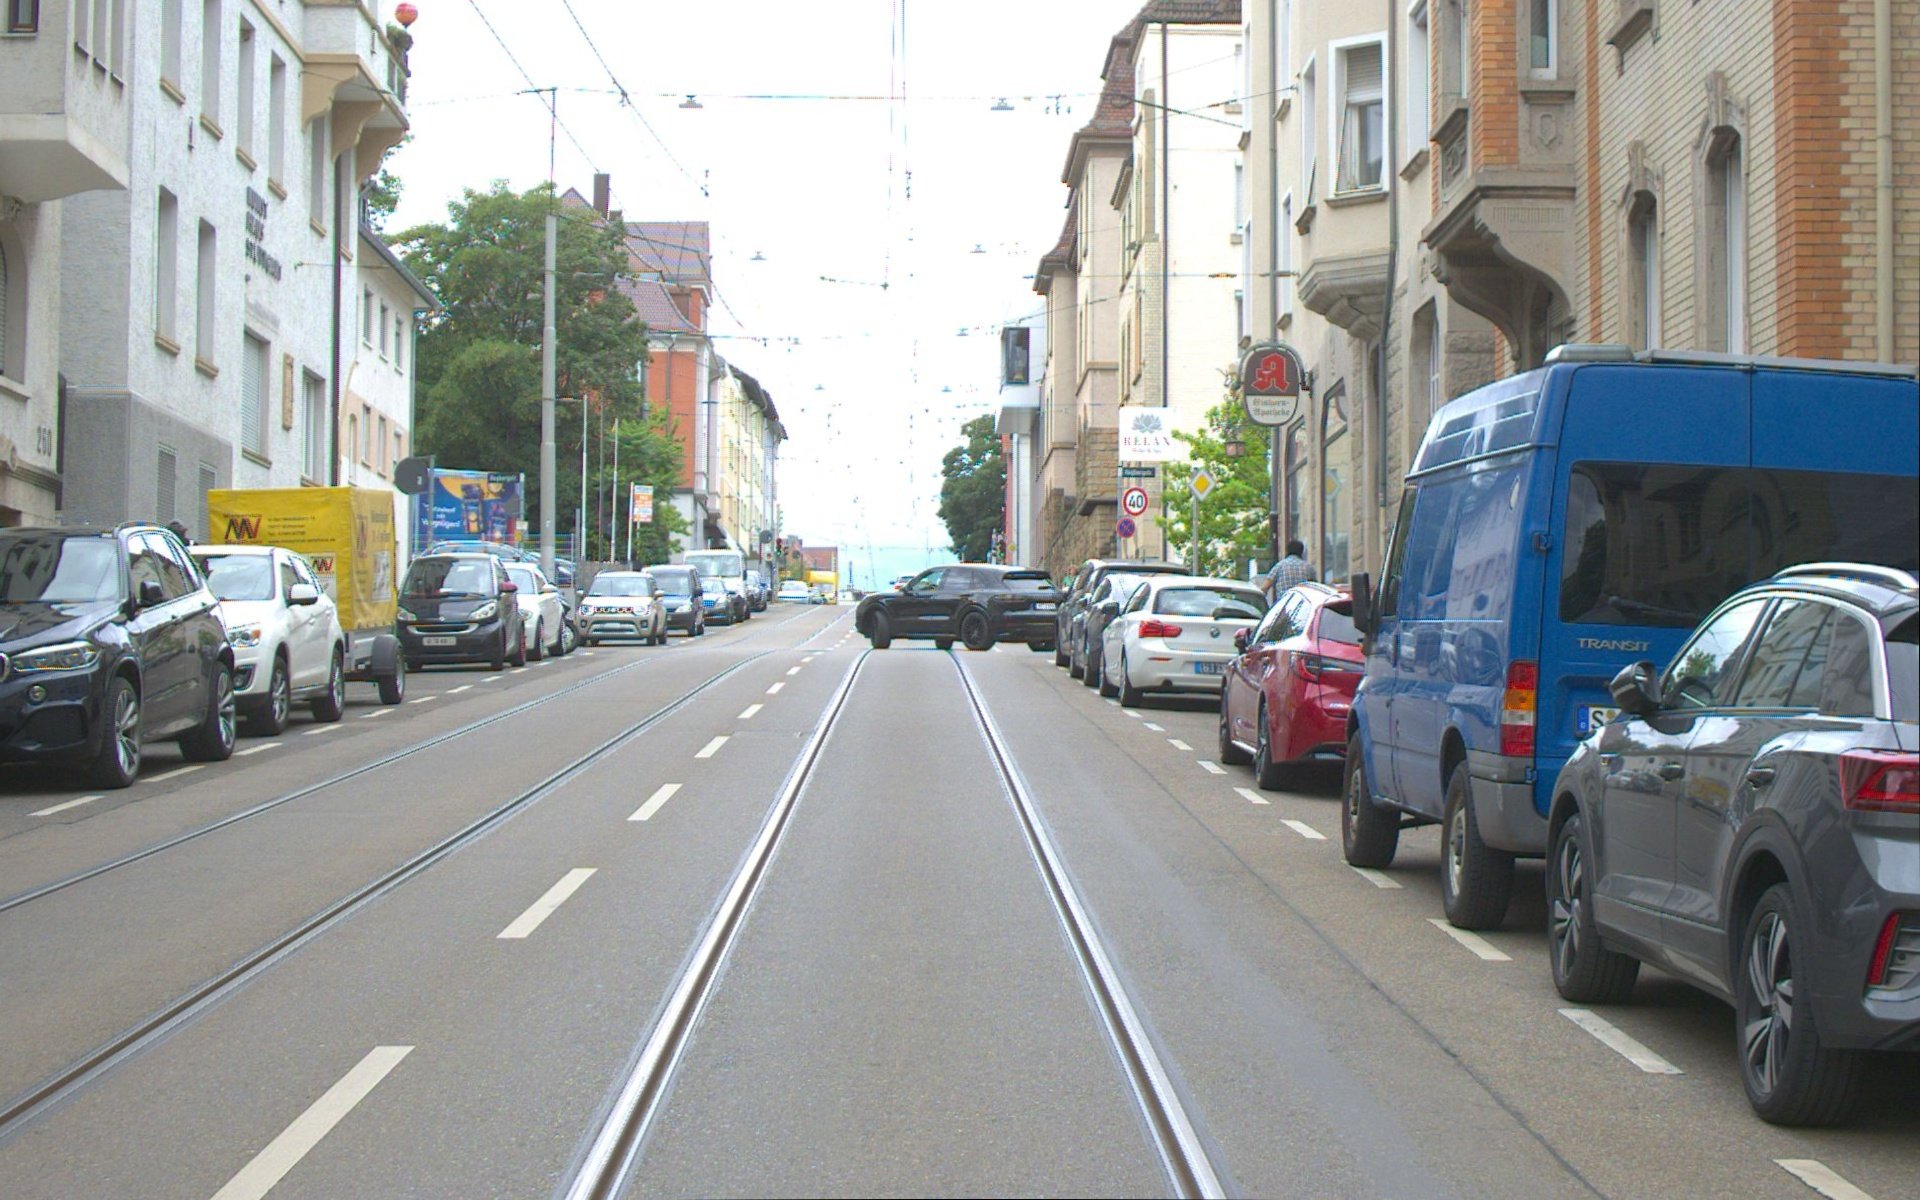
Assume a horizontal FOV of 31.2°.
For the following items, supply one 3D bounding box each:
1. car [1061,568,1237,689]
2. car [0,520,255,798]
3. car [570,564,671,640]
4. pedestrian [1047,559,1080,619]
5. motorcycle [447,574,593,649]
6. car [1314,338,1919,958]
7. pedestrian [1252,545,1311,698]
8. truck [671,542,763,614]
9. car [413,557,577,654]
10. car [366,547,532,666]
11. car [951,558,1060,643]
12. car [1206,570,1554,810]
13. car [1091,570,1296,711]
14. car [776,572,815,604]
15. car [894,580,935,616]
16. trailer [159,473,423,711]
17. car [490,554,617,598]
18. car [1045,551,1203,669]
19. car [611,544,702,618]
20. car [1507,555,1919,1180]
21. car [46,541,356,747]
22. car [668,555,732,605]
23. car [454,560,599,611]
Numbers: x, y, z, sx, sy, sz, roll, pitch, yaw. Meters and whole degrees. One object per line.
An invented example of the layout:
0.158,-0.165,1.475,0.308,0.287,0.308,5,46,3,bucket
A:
2.370,0.330,44.157,1.779,1.386,4.692,3,0,-2,car
-6.203,0.329,23.151,1.873,1.658,4.892,-2,1,0,car
-7.196,0.013,73.110,1.697,1.551,3.850,1,1,1,car
2.969,-0.321,98.730,0.870,1.680,0.663,-1,0,-2,pedestrian
-6.848,0.184,53.543,2.110,1.130,0.766,-1,1,13,motorcycle
2.943,0.180,15.817,1.993,2.368,5.056,1,0,-1,car
3.799,0.251,40.693,0.599,1.797,0.632,1,0,-1,pedestrian
-7.692,-0.724,109.601,2.280,2.180,8.025,1,1,0,truck
-6.757,0.056,50.354,1.780,1.353,4.291,1,1,1,car
-6.669,0.071,45.133,1.697,1.463,3.023,-2,0,0,car
0.843,-0.012,66.347,1.993,1.558,4.290,1,1,0,car
2.880,0.566,24.535,1.779,1.470,4.590,3,0,-1,car
2.504,0.400,37.782,1.750,1.386,4.308,3,0,-2,car
-8.477,-0.633,177.496,1.855,1.601,4.297,1,1,-1,car
-1.947,-0.102,146.478,1.672,1.508,3.798,0,1,-2,car
-6.473,-0.110,33.683,1.748,2.148,4.071,-2,1,0,trailer
-12.964,-0.766,109.722,3.876,1.352,1.688,1,1,-1,car
2.302,0.114,49.323,1.735,1.532,4.575,3,0,-3,car
-7.389,-0.466,84.104,1.744,1.730,4.519,-1,1,1,car
3.010,0.692,10.574,1.779,1.525,4.192,4,0,-2,car
-6.419,0.315,29.511,1.697,1.588,4.268,-2,1,0,car
-7.733,-0.600,102.453,1.697,1.428,4.482,-1,1,-2,car
-12.711,-0.436,100.960,4.060,1.440,1.688,1,0,-1,car
